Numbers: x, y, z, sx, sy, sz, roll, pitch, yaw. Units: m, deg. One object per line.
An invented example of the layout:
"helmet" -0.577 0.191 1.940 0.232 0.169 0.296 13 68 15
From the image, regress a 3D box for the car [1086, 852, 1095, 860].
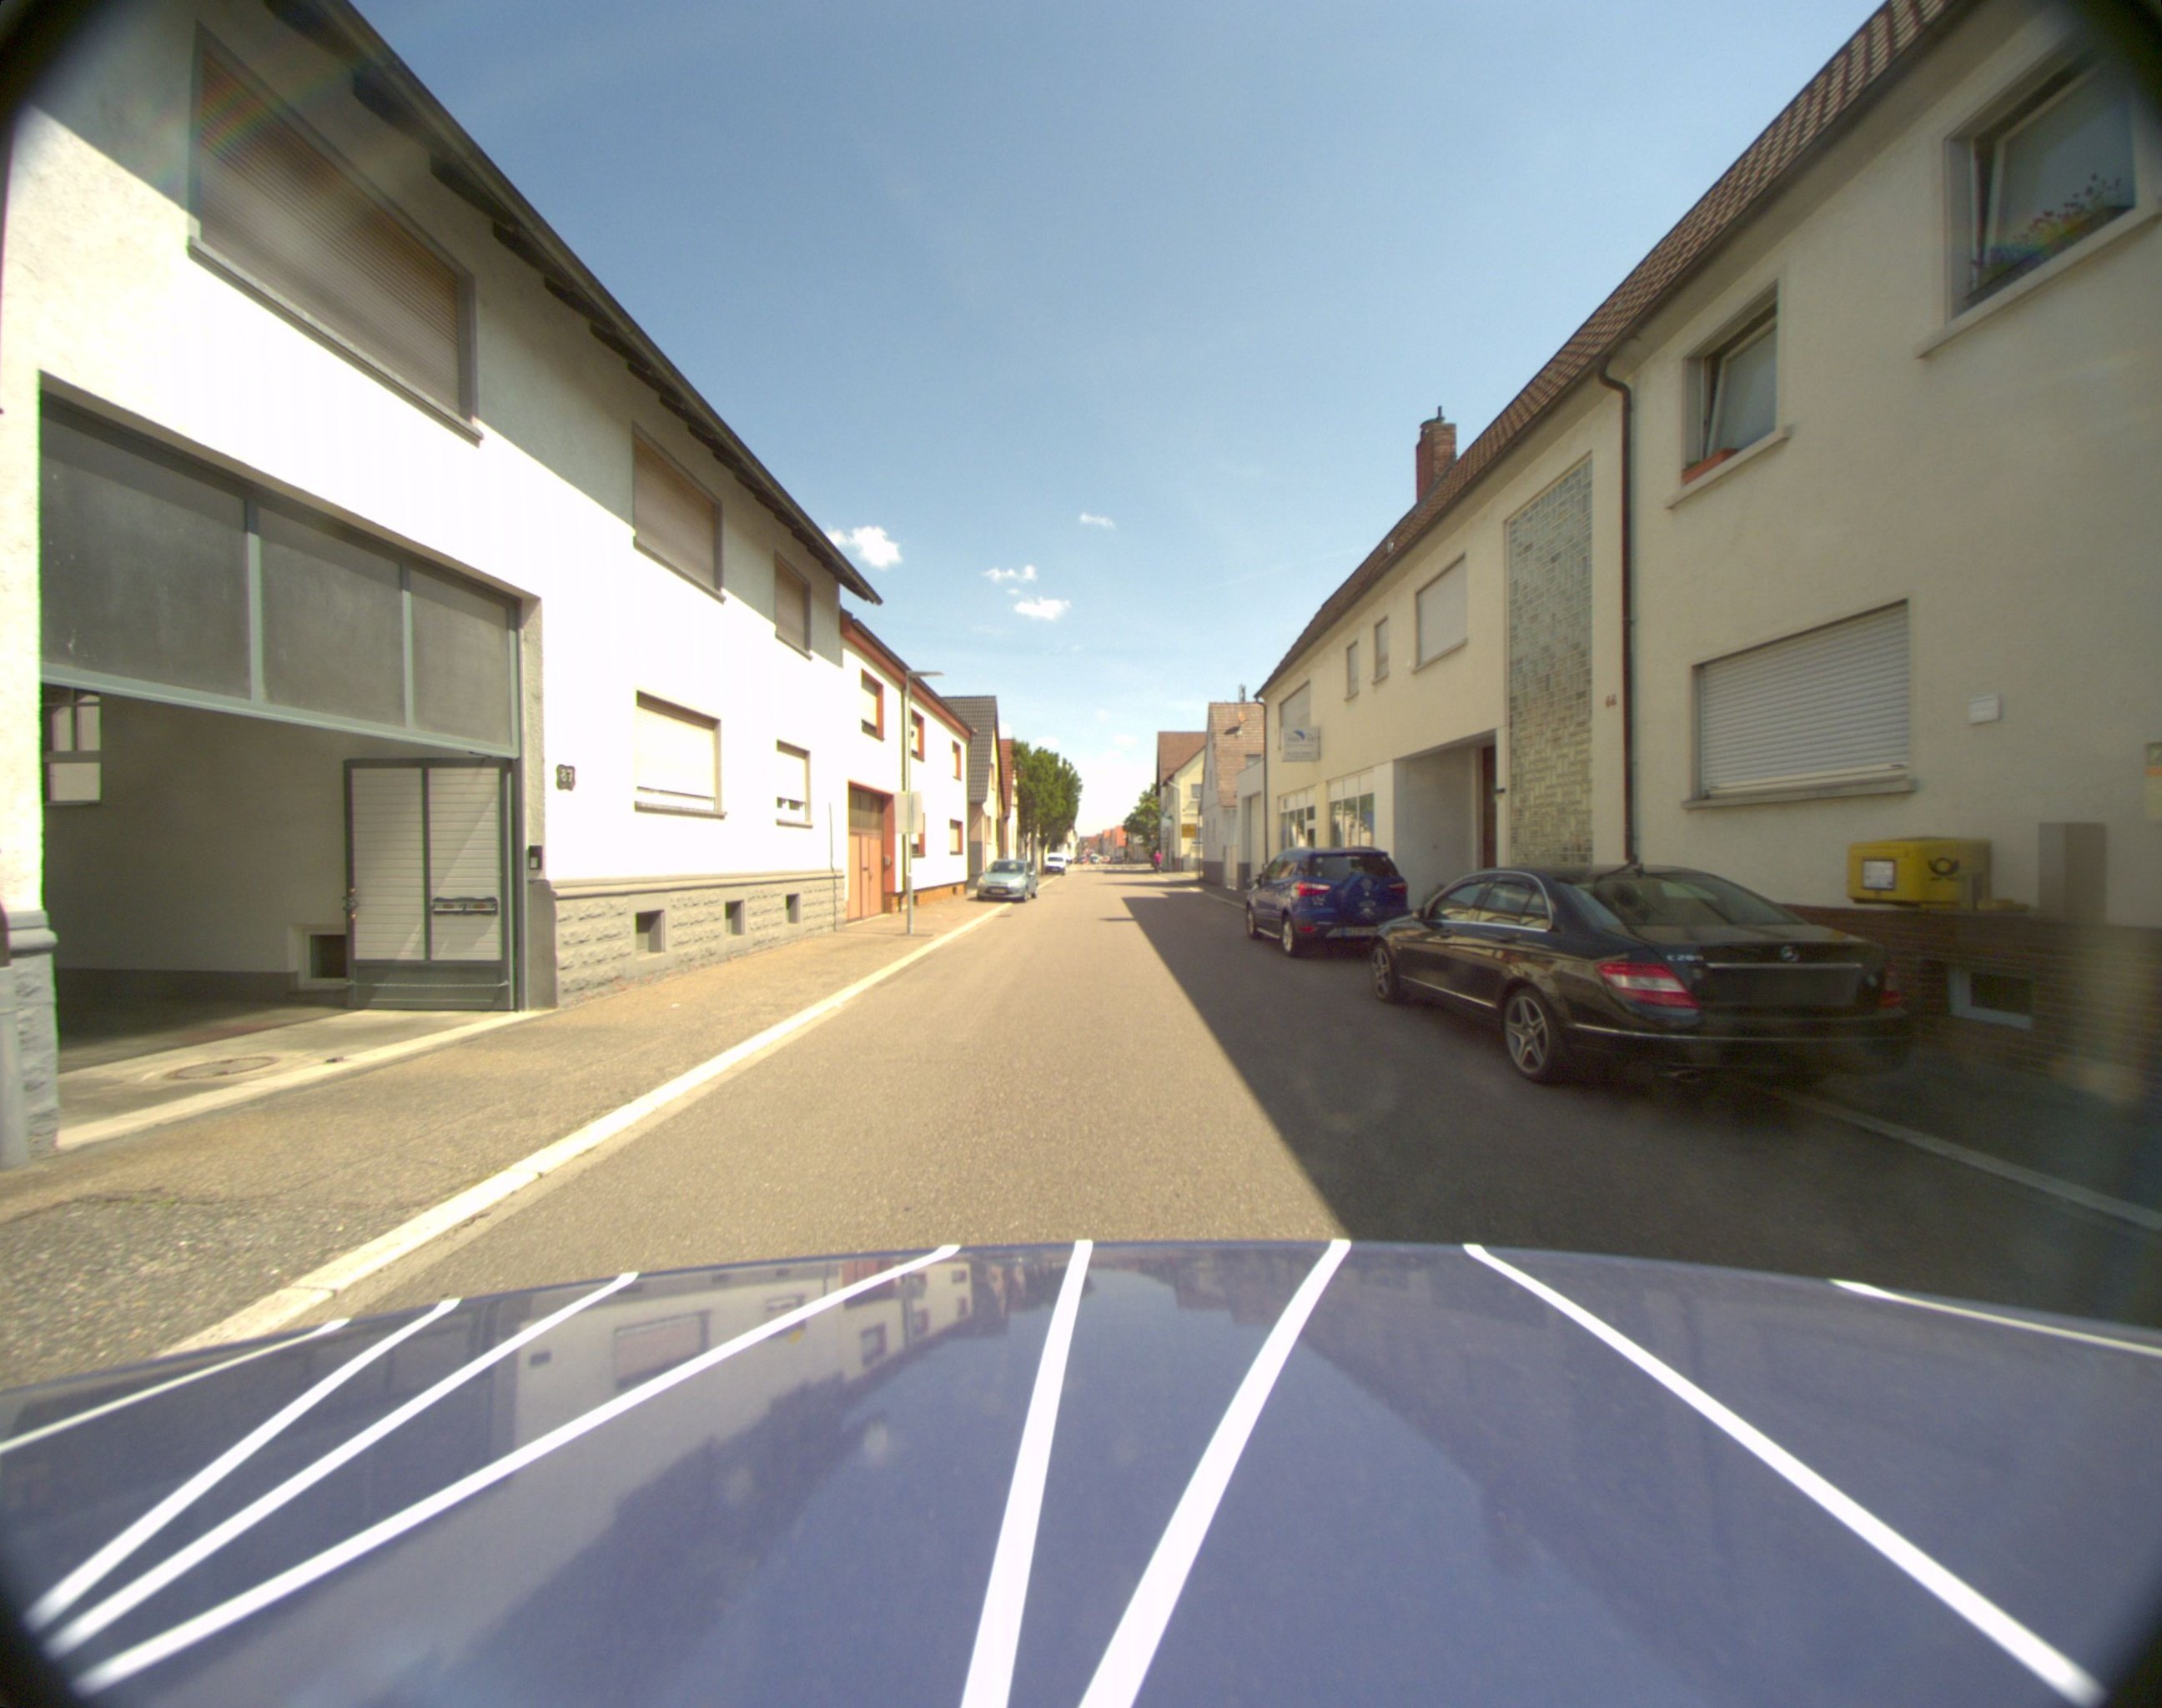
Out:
"car" 1.986 0.446 159.935 1.848 1.385 4.169 -1 -2 -1

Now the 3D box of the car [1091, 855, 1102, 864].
"car" 2.670 0.926 130.429 1.597 1.533 4.201 -2 1 3

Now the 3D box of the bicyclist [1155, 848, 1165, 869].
"bicyclist" 6.093 0.326 58.486 0.748 1.627 0.956 -1 1 4

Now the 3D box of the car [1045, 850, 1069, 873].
"car" -2.010 0.610 63.742 1.692 1.832 4.764 2 0 2

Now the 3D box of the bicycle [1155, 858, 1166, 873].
"bicycle" 6.111 0.875 58.582 0.744 1.041 1.940 -1 0 4

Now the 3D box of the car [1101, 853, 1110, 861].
"car" 4.764 0.613 149.480 1.598 1.385 4.168 -2 0 1

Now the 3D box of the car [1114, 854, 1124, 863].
"car" 7.092 0.861 142.314 1.726 1.385 4.171 -1 -2 3

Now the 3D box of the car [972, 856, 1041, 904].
"car" -2.560 0.862 27.046 1.725 1.473 3.751 3 1 5

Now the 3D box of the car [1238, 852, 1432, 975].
"car" 3.870 0.795 12.360 1.721 1.630 4.148 1 0 0

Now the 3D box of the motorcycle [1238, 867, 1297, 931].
"motorcycle" 4.167 0.967 17.120 0.810 1.305 2.105 -1 0 1

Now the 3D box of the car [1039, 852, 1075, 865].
"car" -3.363 0.632 105.784 4.843 1.636 1.998 -1 1 -9

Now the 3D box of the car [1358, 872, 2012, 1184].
"car" 3.788 0.918 5.956 1.702 1.403 4.390 -1 0 1
